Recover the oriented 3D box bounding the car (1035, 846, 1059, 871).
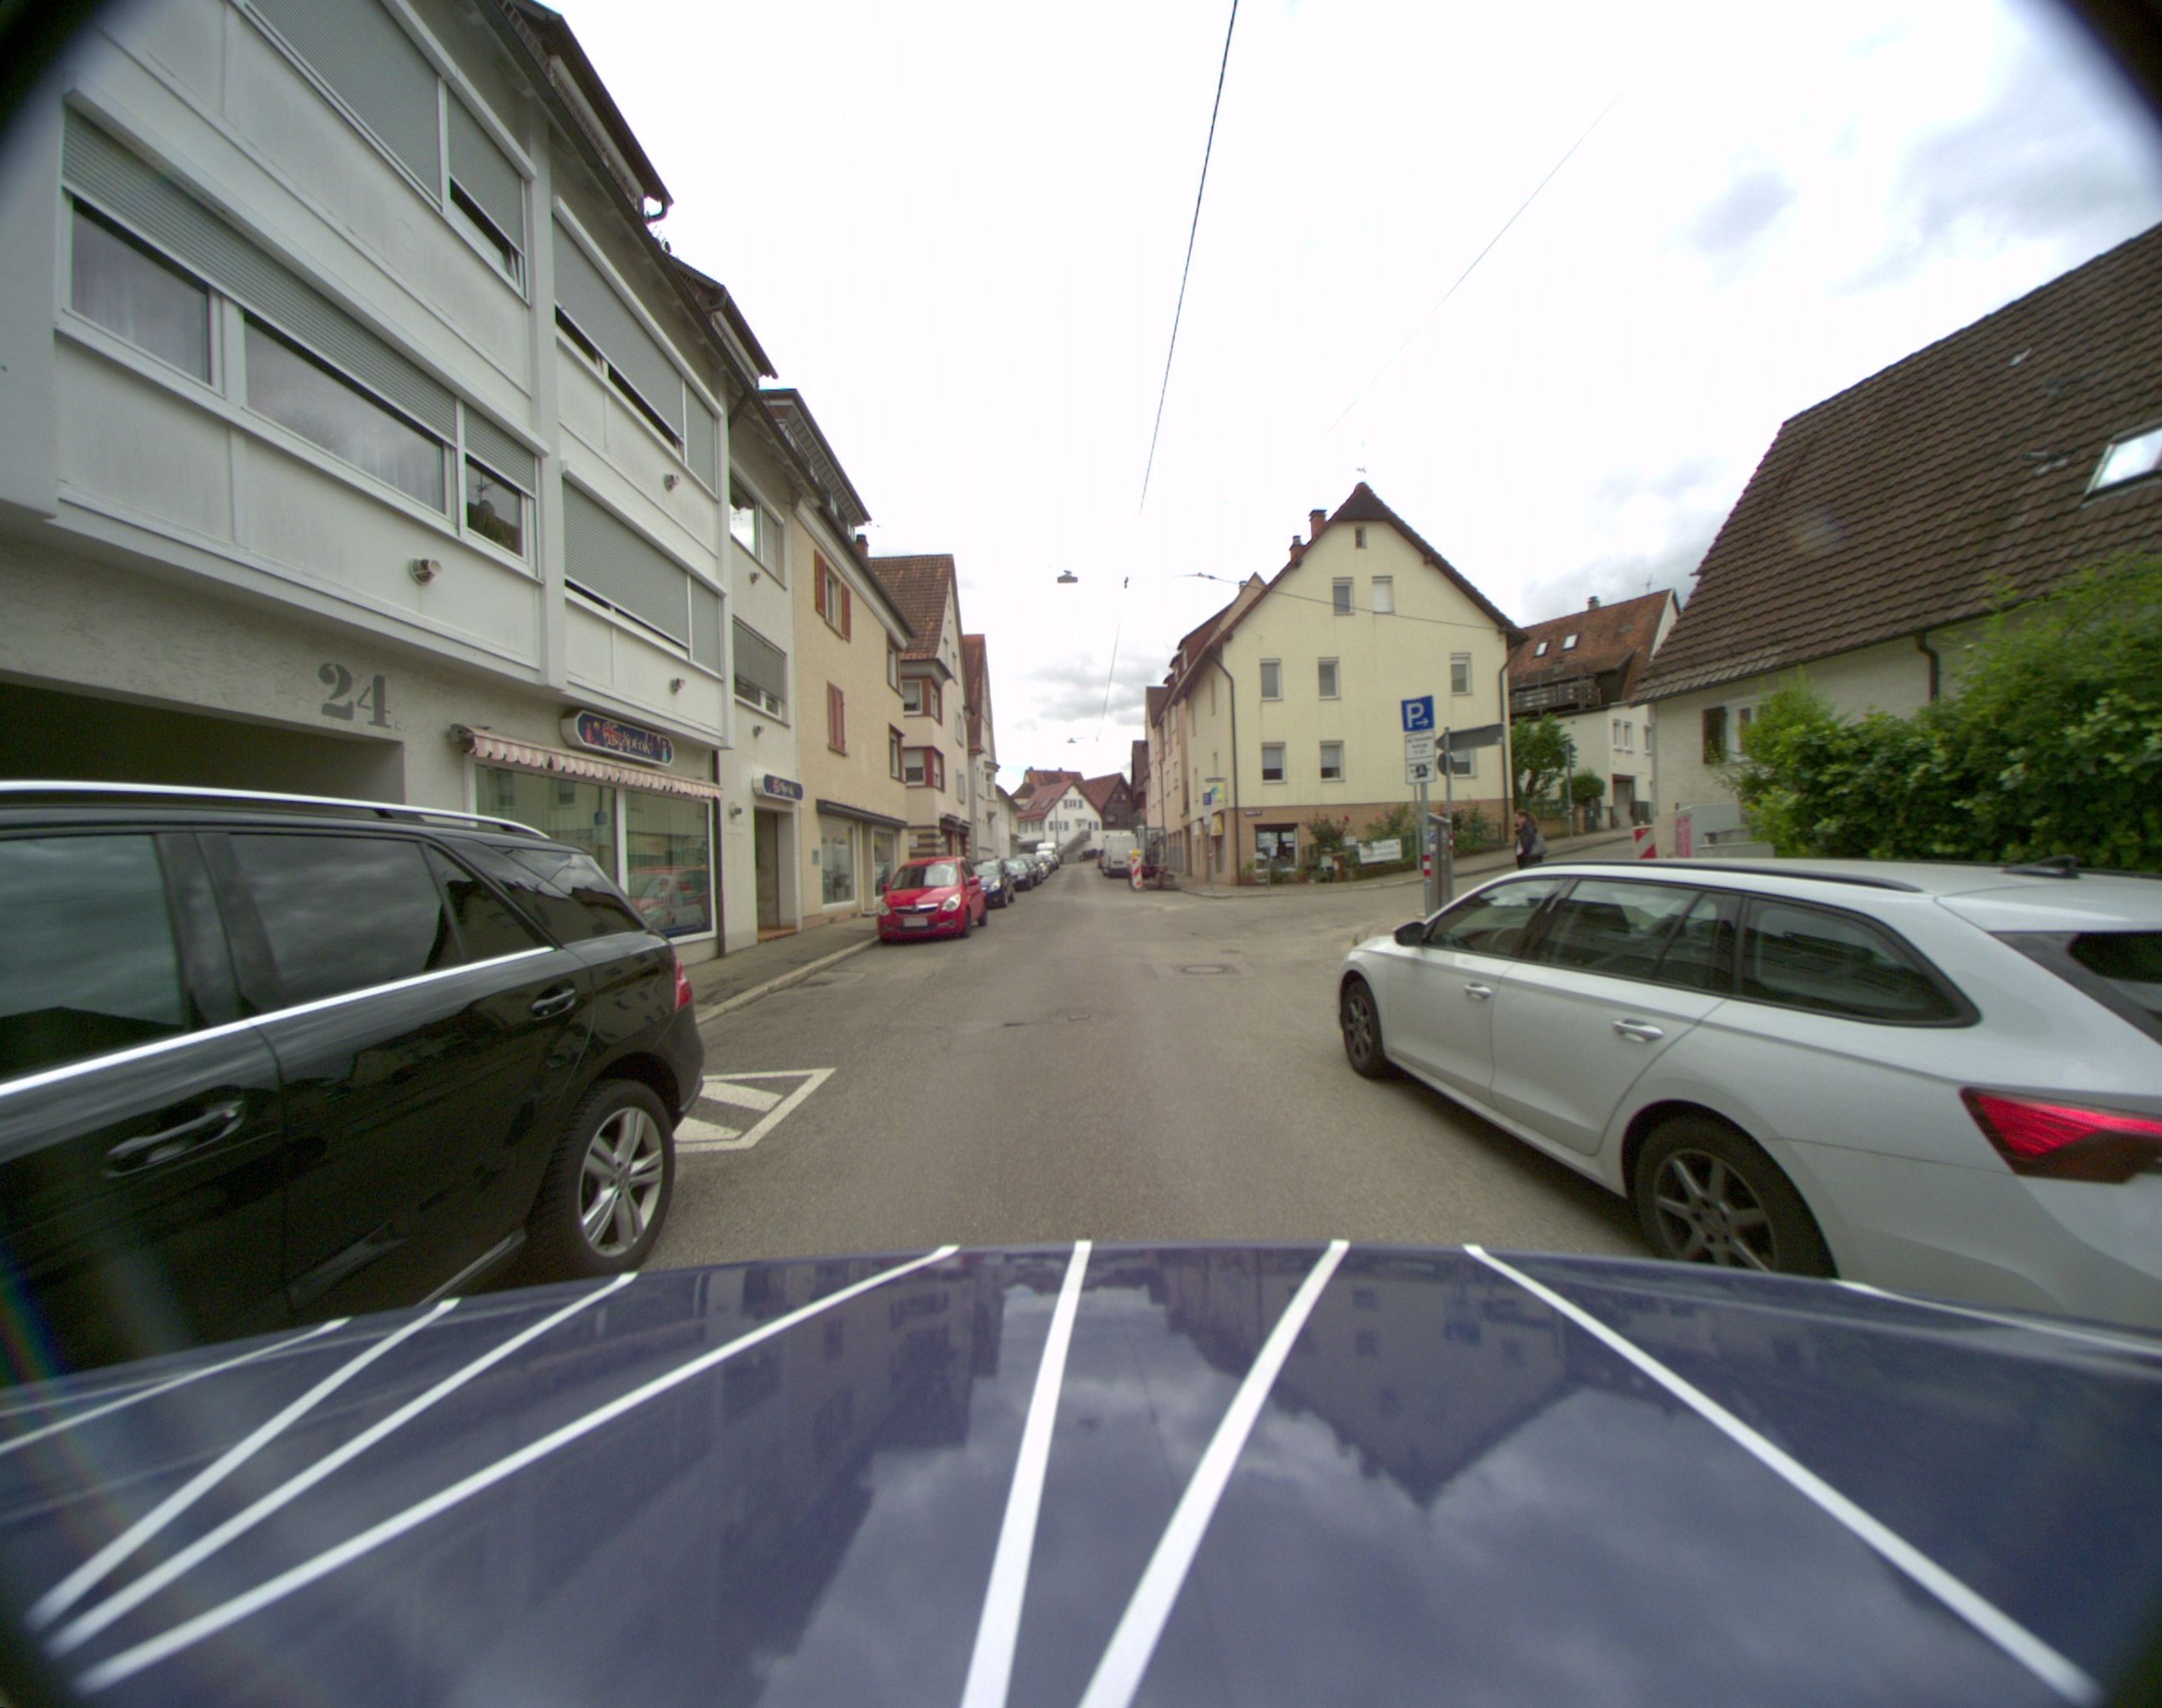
[{"bbox_3d":[-2.976,0.332,67.022,1.696,1.992,4.093,-5,0,2],"label":"car"}]

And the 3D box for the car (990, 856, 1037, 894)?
[{"bbox_3d":[-2.851,0.865,32.888,1.696,1.395,4.000,-4,0,-2],"label":"car"}]

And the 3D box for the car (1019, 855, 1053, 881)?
[{"bbox_3d":[-2.806,0.844,48.107,1.696,1.382,3.801,-5,0,1],"label":"car"}]

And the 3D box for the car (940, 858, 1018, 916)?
[{"bbox_3d":[-3.007,0.931,23.210,1.696,1.441,3.920,-6,0,0],"label":"car"}]

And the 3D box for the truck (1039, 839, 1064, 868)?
[{"bbox_3d":[-2.791,-0.081,72.575,1.825,2.580,4.780,-5,0,2],"label":"truck"}]

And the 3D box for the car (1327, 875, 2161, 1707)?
[{"bbox_3d":[2.747,0.896,3.283,1.798,1.452,4.294,-1,0,-3],"label":"car"}]

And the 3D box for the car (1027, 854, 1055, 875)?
[{"bbox_3d":[-3.024,0.793,58.356,1.696,1.382,3.714,-5,0,2],"label":"car"}]

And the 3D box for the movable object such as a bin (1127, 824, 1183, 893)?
[{"bbox_3d":[2.837,0.157,30.011,1.571,2.486,4.673,-1,1,-2],"label":"movable object such as a bin"}]

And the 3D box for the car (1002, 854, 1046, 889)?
[{"bbox_3d":[-2.797,0.835,38.005,1.696,1.441,4.104,-5,0,1],"label":"car"}]

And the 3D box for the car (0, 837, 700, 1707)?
[{"bbox_3d":[-2.685,0.921,1.107,1.946,1.769,4.368,-4,1,0],"label":"car"}]

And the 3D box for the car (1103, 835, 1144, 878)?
[{"bbox_3d":[2.444,0.141,45.281,1.999,2.374,6.620,0,0,-1],"label":"car"}]

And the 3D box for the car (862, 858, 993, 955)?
[{"bbox_3d":[-2.941,0.943,15.313,1.696,1.547,3.695,-5,0,1],"label":"car"}]

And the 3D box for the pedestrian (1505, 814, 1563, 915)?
[{"bbox_3d":[7.858,0.182,13.202,0.647,1.675,0.605,-5,1,17],"label":"pedestrian"}]
